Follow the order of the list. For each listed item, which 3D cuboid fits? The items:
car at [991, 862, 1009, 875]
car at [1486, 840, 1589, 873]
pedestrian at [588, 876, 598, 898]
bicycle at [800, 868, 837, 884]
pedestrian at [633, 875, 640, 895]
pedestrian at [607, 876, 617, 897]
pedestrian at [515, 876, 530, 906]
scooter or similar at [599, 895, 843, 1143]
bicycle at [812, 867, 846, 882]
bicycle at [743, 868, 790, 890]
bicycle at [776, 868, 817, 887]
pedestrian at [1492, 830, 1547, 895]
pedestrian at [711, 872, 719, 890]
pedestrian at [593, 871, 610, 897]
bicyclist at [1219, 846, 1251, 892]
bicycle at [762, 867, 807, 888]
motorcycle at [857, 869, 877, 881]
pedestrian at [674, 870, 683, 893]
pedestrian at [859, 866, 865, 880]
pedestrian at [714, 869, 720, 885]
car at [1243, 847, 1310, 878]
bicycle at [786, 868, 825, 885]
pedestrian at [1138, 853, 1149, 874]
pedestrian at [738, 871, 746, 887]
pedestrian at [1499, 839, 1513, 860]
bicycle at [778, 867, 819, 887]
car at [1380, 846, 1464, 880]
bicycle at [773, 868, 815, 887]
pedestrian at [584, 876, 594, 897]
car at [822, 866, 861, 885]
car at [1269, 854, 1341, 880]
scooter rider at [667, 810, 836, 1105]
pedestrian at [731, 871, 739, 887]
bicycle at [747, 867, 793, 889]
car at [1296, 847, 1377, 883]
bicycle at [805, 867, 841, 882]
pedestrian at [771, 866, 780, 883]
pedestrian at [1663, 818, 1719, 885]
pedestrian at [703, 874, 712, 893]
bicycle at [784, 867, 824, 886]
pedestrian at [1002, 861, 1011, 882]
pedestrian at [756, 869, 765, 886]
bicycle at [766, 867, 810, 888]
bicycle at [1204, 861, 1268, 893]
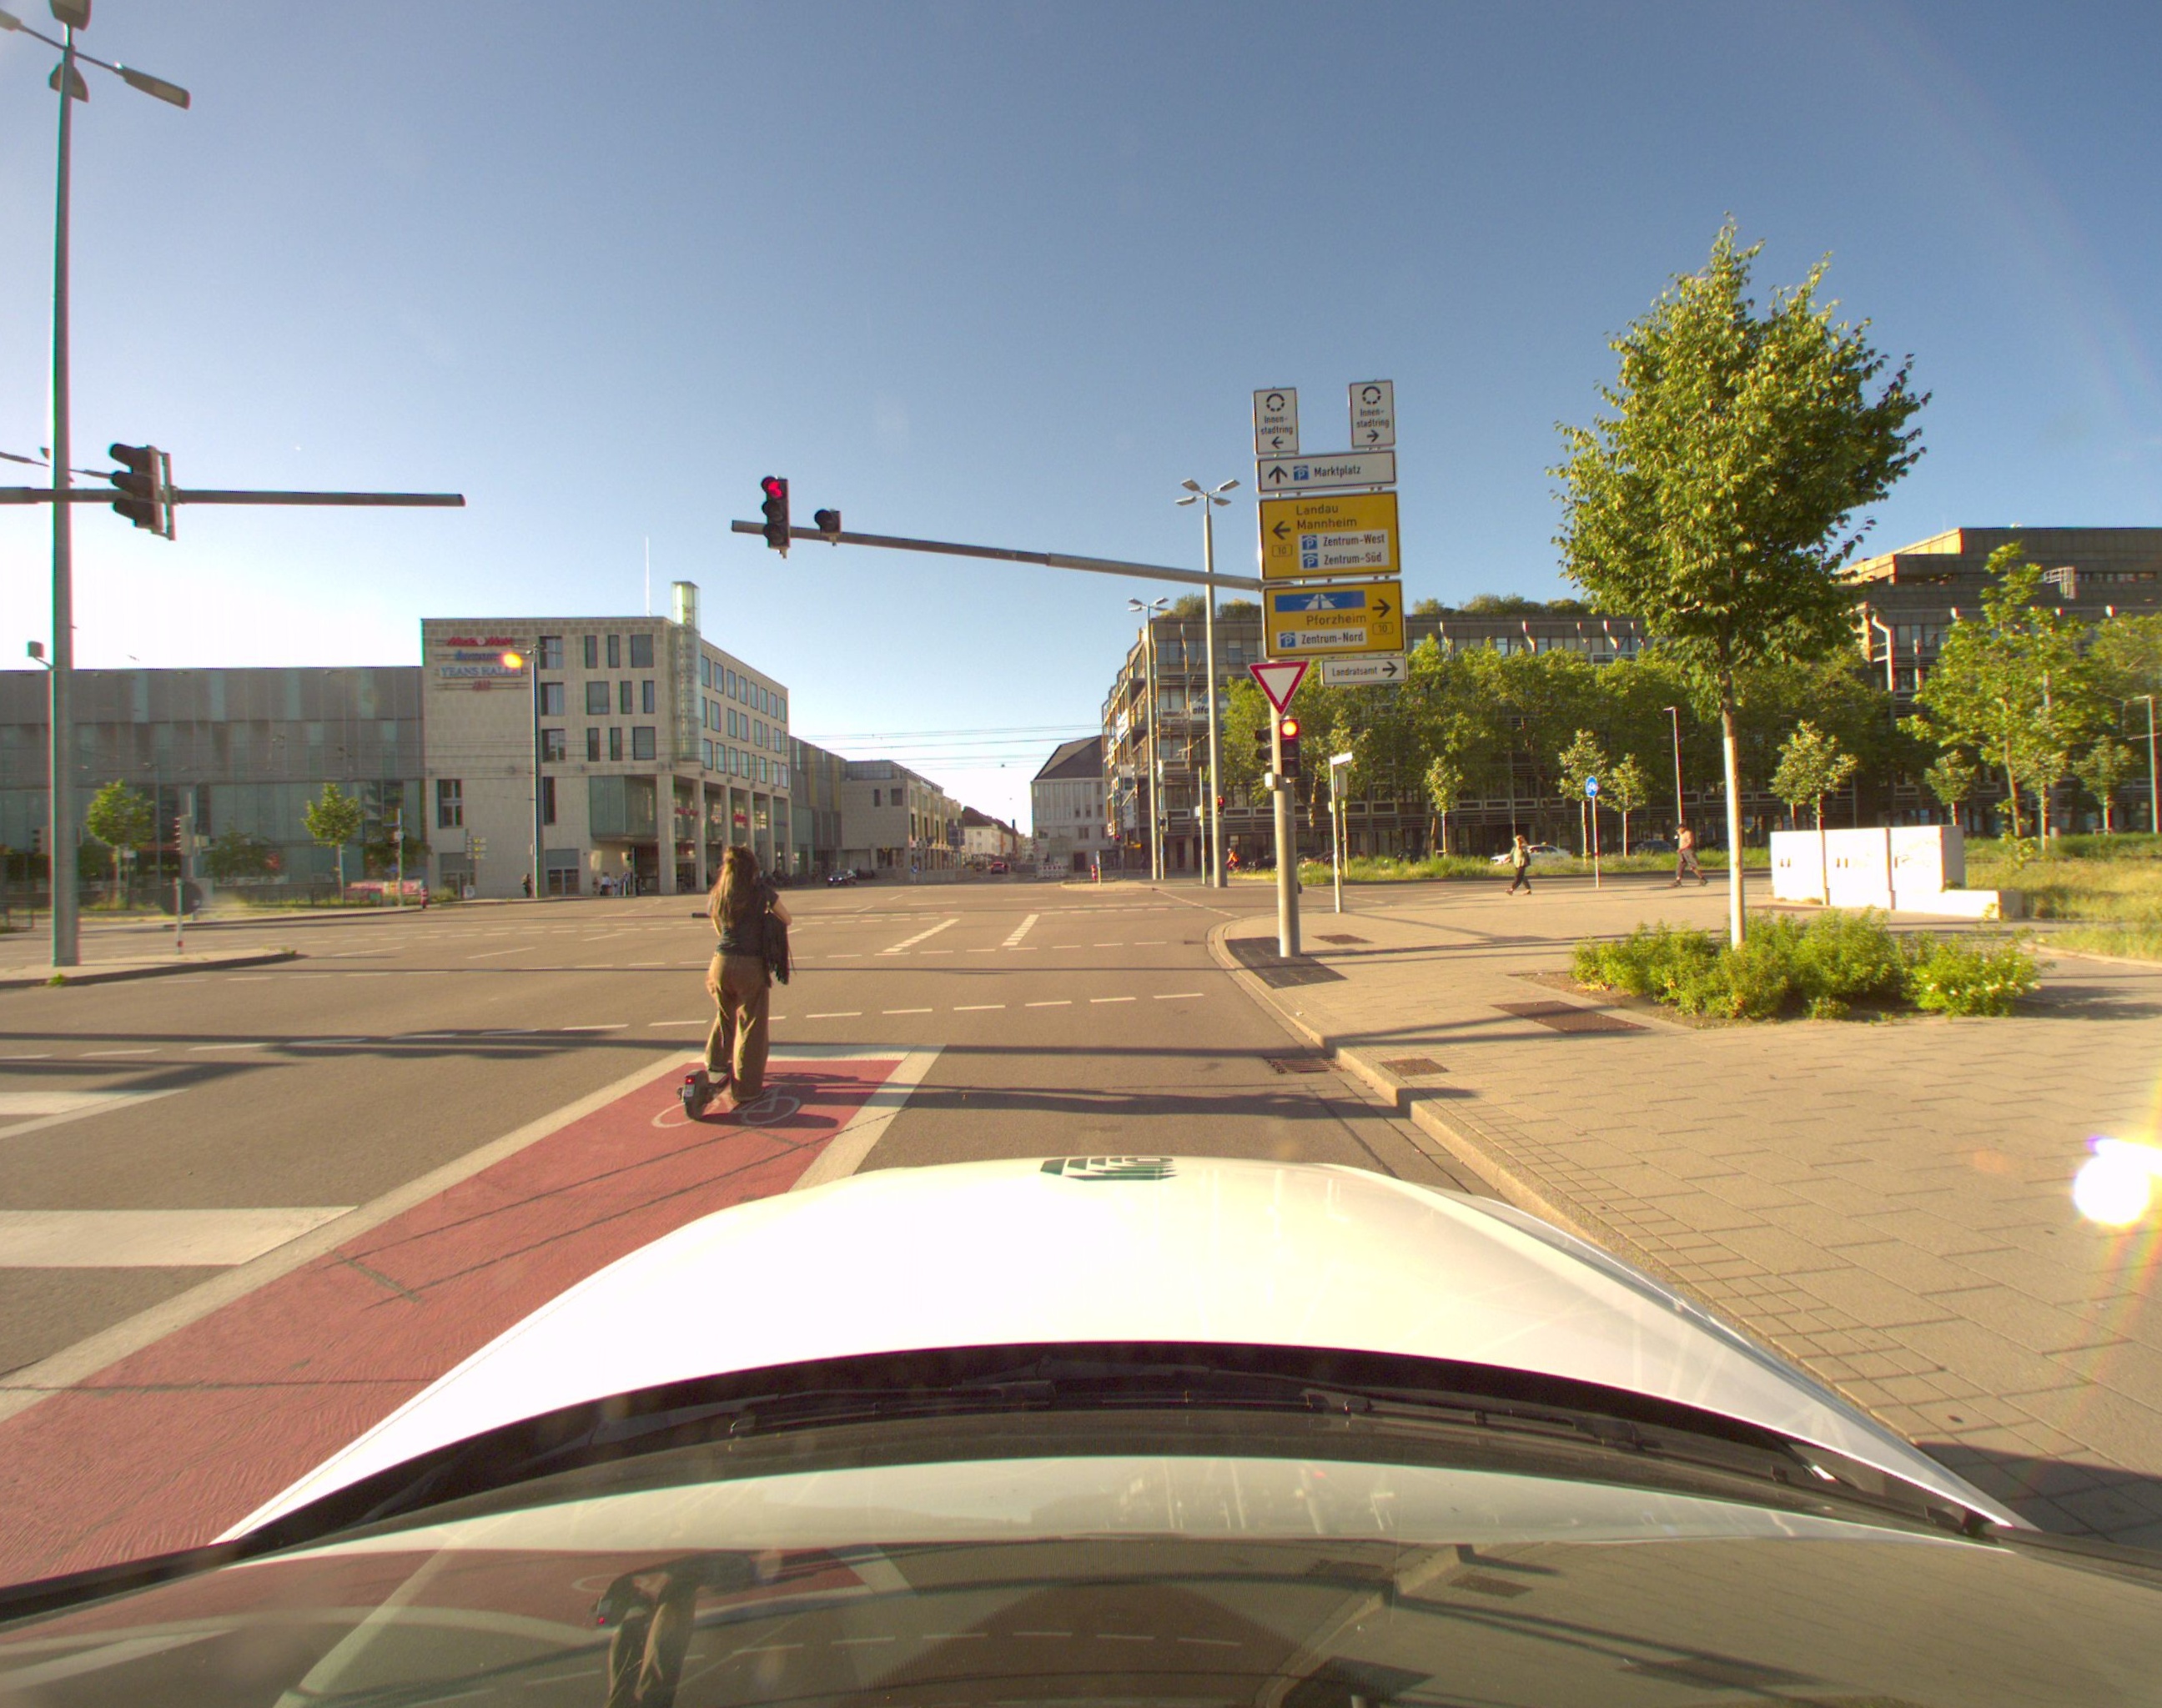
[{"bbox_3d":[-10.794,1.880,108.861,2.195,1.607,4.320,-2,0,-4],"label":"car"},{"bbox_3d":[28.892,0.143,51.654,5.424,2.014,2.097,0,-1,-1],"label":"car"},{"bbox_3d":[-35.186,2.397,58.724,0.420,1.565,0.457,-2,0,2],"label":"pedestrian"},{"bbox_3d":[-27.551,2.288,85.581,3.491,1.527,0.984,-2,0,-10],"label":"bicycle"},{"bbox_3d":[-32.757,2.299,59.999,0.388,1.426,0.499,-2,0,-21],"label":"pedestrian"},{"bbox_3d":[-34.303,2.377,59.602,0.421,1.527,0.456,-2,0,-6],"label":"pedestrian"},{"bbox_3d":[-32.589,2.147,47.515,0.525,1.694,0.546,-2,0,-8],"label":"pedestrian"},{"bbox_3d":[-2.132,0.909,5.103,0.725,1.202,1.665,-1,0,2],"label":"scooter or similar"},{"bbox_3d":[-27.933,2.246,90.355,3.491,1.527,0.984,-2,0,-10],"label":"bicycle"},{"bbox_3d":[-26.734,2.093,69.293,3.488,1.696,1.114,-2,0,-7],"label":"bicycle"},{"bbox_3d":[-26.859,2.195,76.857,3.491,1.696,0.984,-2,0,-10],"label":"bicycle"},{"bbox_3d":[11.498,0.215,21.370,0.801,1.630,0.939,-2,0,-12],"label":"pedestrian"},{"bbox_3d":[-32.243,2.394,71.768,0.480,1.510,0.513,-2,0,-3],"label":"pedestrian"},{"bbox_3d":[-33.931,2.138,57.610,0.755,1.798,0.736,-2,0,-3],"label":"pedestrian"},{"bbox_3d":[8.884,0.853,47.071,1.566,2.580,0.929,-2,0,-7],"label":"bicyclist"},{"bbox_3d":[-26.146,2.066,71.954,3.488,1.696,1.114,-2,0,-7],"label":"bicycle"},{"bbox_3d":[-25.972,2.532,98.865,2.269,1.318,0.719,-2,0,-4],"label":"motorcycle"},{"bbox_3d":[-29.748,2.026,60.209,0.544,1.642,0.545,-2,0,-31],"label":"pedestrian"},{"bbox_3d":[-26.754,2.334,99.590,0.693,1.642,0.696,-2,0,-13],"label":"pedestrian"},{"bbox_3d":[-34.044,2.161,76.220,0.385,1.439,0.367,-2,0,-3],"label":"pedestrian"},{"bbox_3d":[12.838,0.558,53.623,3.975,2.014,1.999,0,-1,-1],"label":"car"},{"bbox_3d":[-27.413,2.223,81.159,3.491,1.527,0.984,-2,0,-10],"label":"bicycle"},{"bbox_3d":[5.043,0.761,65.488,0.728,1.658,0.649,-2,0,-5],"label":"pedestrian"},{"bbox_3d":[-33.458,2.460,80.418,0.480,1.585,0.598,-2,0,-3],"label":"pedestrian"},{"bbox_3d":[34.036,-0.374,65.199,0.662,1.658,0.739,-2,0,-5],"label":"pedestrian"},{"bbox_3d":[-27.047,2.207,78.066,3.491,1.696,0.984,-2,0,-10],"label":"bicycle"},{"bbox_3d":[21.404,0.560,51.247,4.435,2.014,1.998,0,-1,-4],"label":"car"},{"bbox_3d":[-26.683,2.177,75.761,3.491,1.696,0.984,-2,0,-10],"label":"bicycle"},{"bbox_3d":[-35.297,2.350,58.433,0.421,1.501,0.456,-2,0,-9],"label":"pedestrian"},{"bbox_3d":[-20.763,1.883,70.792,1.986,1.486,4.002,-2,0,2],"label":"car"},{"bbox_3d":[13.850,0.780,50.475,3.976,1.508,1.867,-1,0,-2],"label":"car"},{"bbox_3d":[-2.118,0.627,5.338,0.726,1.775,0.811,-1,0,1],"label":"scooter rider"},{"bbox_3d":[-34.021,2.461,80.050,0.480,1.585,0.598,-2,0,-3],"label":"pedestrian"},{"bbox_3d":[-26.910,2.060,70.459,3.488,1.696,1.114,-2,0,-7],"label":"bicycle"},{"bbox_3d":[14.451,0.617,46.209,3.975,2.014,1.999,0,-1,-1],"label":"car"},{"bbox_3d":[-27.656,2.208,87.449,3.491,1.527,0.984,-2,0,-10],"label":"bicycle"},{"bbox_3d":[-30.048,2.037,80.126,0.652,1.642,0.693,-2,0,-7],"label":"pedestrian"},{"bbox_3d":[16.235,-0.058,21.698,0.694,1.728,0.939,-2,0,-12],"label":"pedestrian"},{"bbox_3d":[-32.554,2.589,71.043,0.480,1.585,0.513,-2,0,-3],"label":"pedestrian"},{"bbox_3d":[-27.251,2.231,80.162,3.491,1.696,0.984,-2,0,-10],"label":"bicycle"},{"bbox_3d":[-6.125,1.422,67.125,0.661,1.658,0.755,-2,0,-1],"label":"pedestrian"},{"bbox_3d":[-30.854,2.272,78.384,0.786,1.642,0.690,-2,0,-19],"label":"pedestrian"},{"bbox_3d":[-26.323,2.112,73.174,3.488,1.696,1.114,-2,0,-7],"label":"bicycle"},{"bbox_3d":[8.925,1.313,47.067,3.488,1.659,0.929,-2,0,-7],"label":"bicycle"}]
